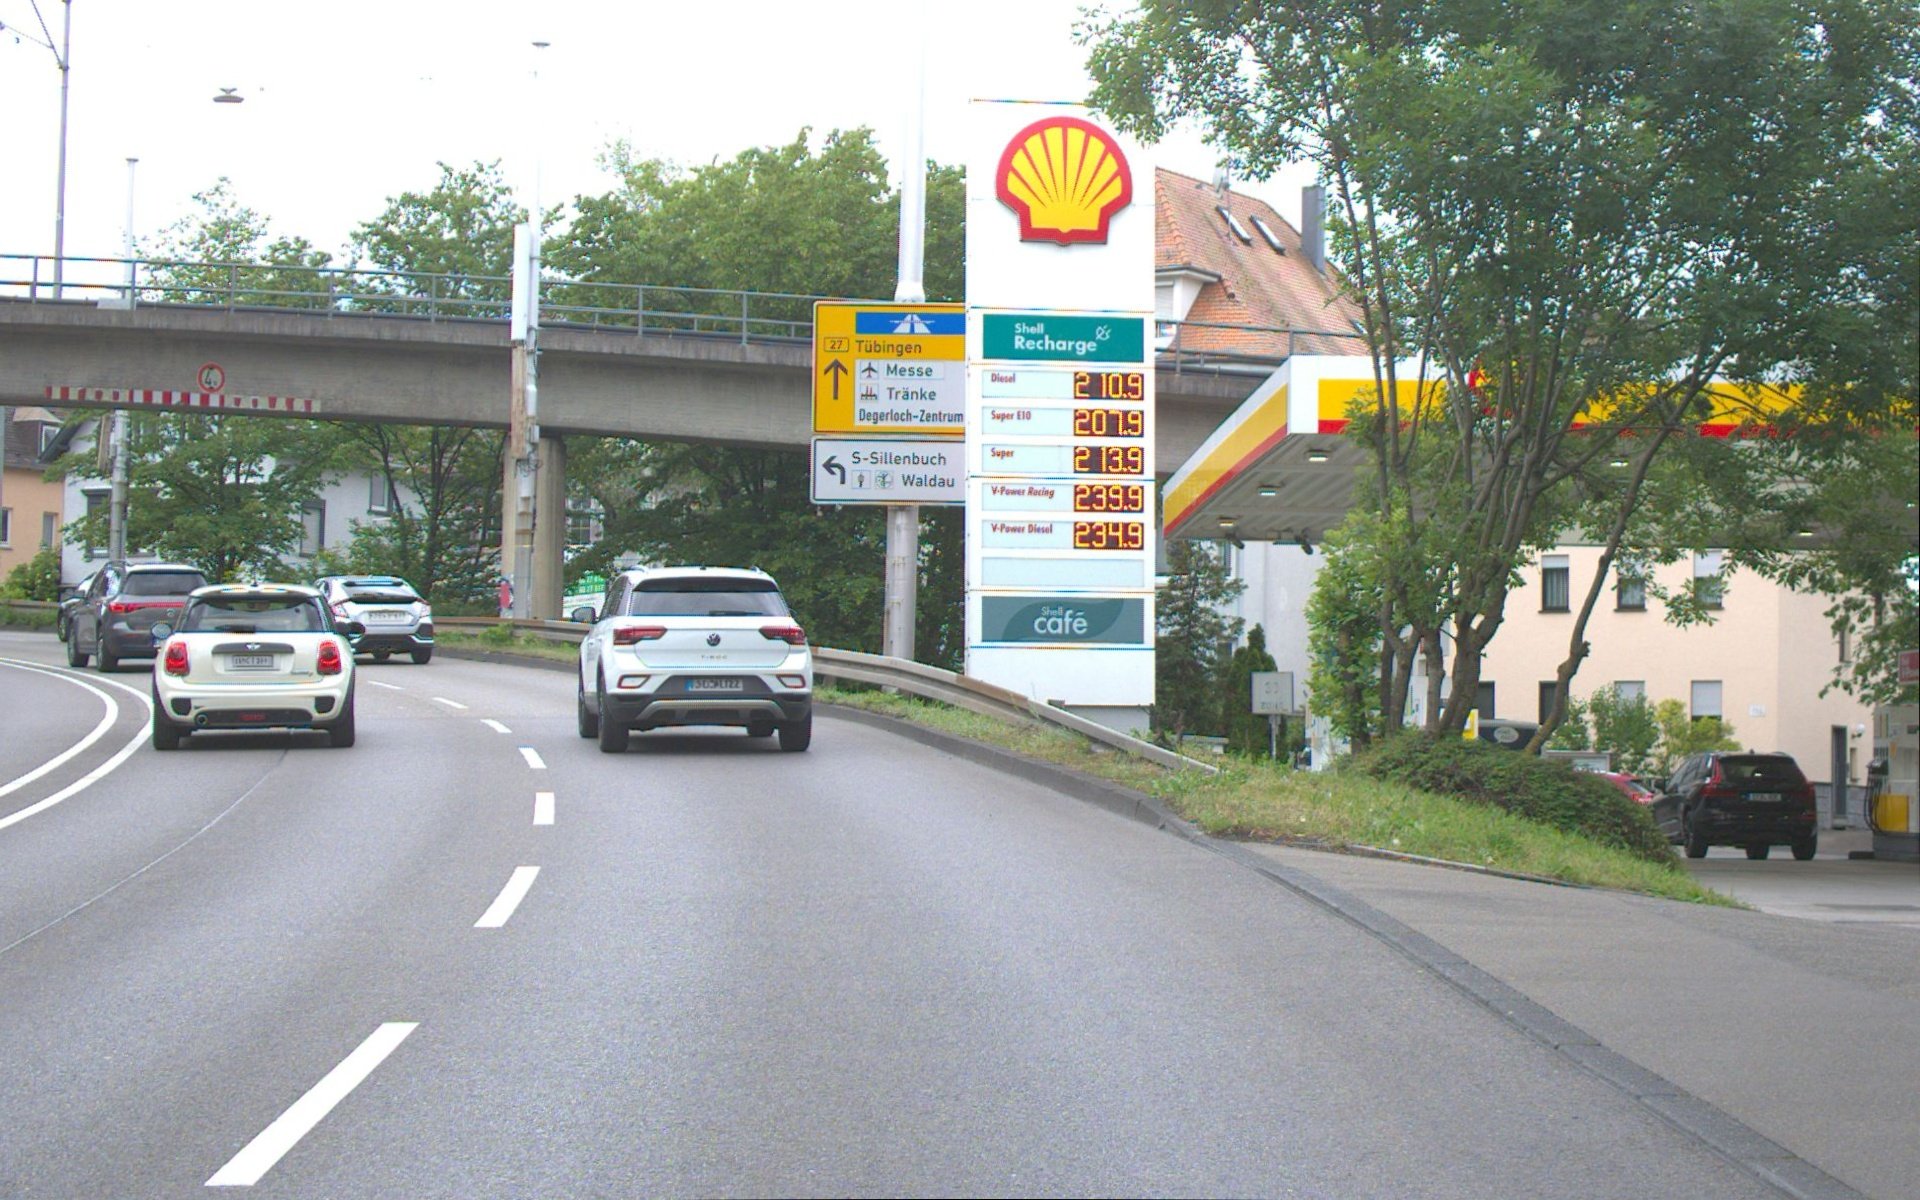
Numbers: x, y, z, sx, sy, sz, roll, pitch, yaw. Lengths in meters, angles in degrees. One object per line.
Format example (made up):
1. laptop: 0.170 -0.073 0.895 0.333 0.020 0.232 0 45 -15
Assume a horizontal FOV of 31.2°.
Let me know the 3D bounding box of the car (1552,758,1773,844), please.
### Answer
1. car: 15.143 4.334 74.134 4.297 1.516 1.621 3 -2 28

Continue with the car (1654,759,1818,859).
1. car: 11.896 3.207 52.911 1.735 1.481 3.877 0 -3 2

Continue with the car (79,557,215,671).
1. car: -12.360 0.187 52.146 1.722 1.634 3.457 1 0 -17

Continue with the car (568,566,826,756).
1. car: -2.335 0.487 29.750 1.796 1.514 3.457 1 0 -11

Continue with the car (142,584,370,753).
1. car: -6.197 0.570 30.561 1.722 1.371 3.457 1 0 -8

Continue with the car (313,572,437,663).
1. car: -9.559 0.268 56.015 1.675 1.404 3.457 1 0 -14

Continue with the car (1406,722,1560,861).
1. car: 7.882 2.913 52.187 1.735 2.004 4.712 0 -3 2
